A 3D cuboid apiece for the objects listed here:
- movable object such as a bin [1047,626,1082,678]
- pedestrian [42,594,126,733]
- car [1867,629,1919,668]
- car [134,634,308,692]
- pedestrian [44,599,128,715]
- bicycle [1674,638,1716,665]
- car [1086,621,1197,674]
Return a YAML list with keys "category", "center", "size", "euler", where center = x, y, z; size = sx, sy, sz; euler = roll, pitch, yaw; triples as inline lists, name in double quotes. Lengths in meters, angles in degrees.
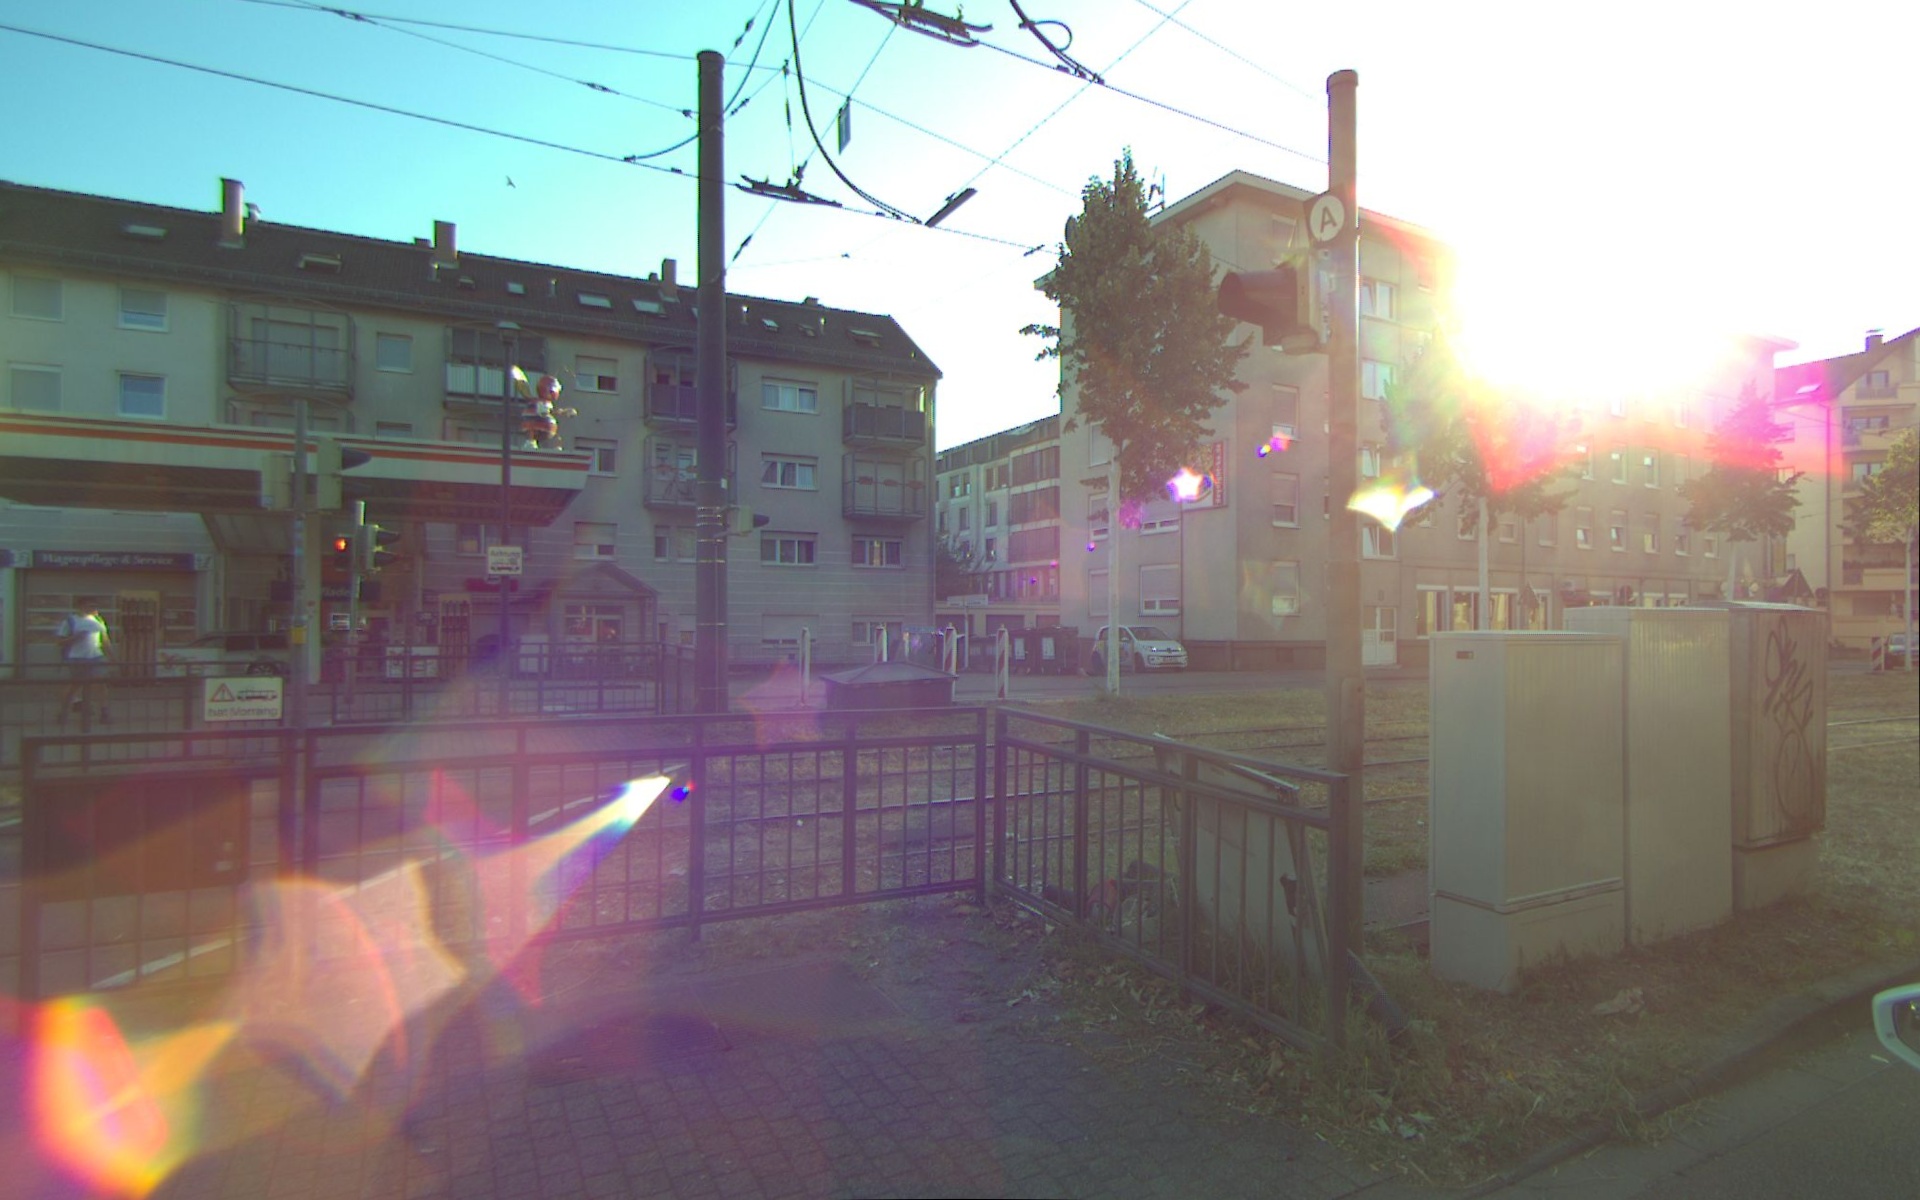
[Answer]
- category: "movable object such as a bin"
  center: [2.930, 1.444, 28.161]
  size: [0.740, 1.419, 0.660]
  euler: [1, -2, -30]
- category: "pedestrian"
  center: [-12.824, 0.913, 14.726]
  size: [0.747, 1.957, 0.853]
  euler: [1, -1, -31]
- category: "car"
  center: [40.635, 2.003, 42.447]
  size: [4.871, 1.580, 1.806]
  euler: [0, -4, -28]
- category: "car"
  center: [-21.036, 1.764, 28.803]
  size: [3.782, 1.543, 1.804]
  euler: [1, -2, -29]
- category: "pedestrian"
  center: [-13.739, 0.884, 15.811]
  size: [0.851, 1.770, 0.749]
  euler: [1, -2, -32]
- category: "bicycle"
  center: [31.528, 2.194, 43.083]
  size: [1.756, 1.129, 0.743]
  euler: [1, -2, -29]
- category: "car"
  center: [5.573, 1.468, 31.331]
  size: [1.790, 1.532, 3.813]
  euler: [1, -3, -19]
